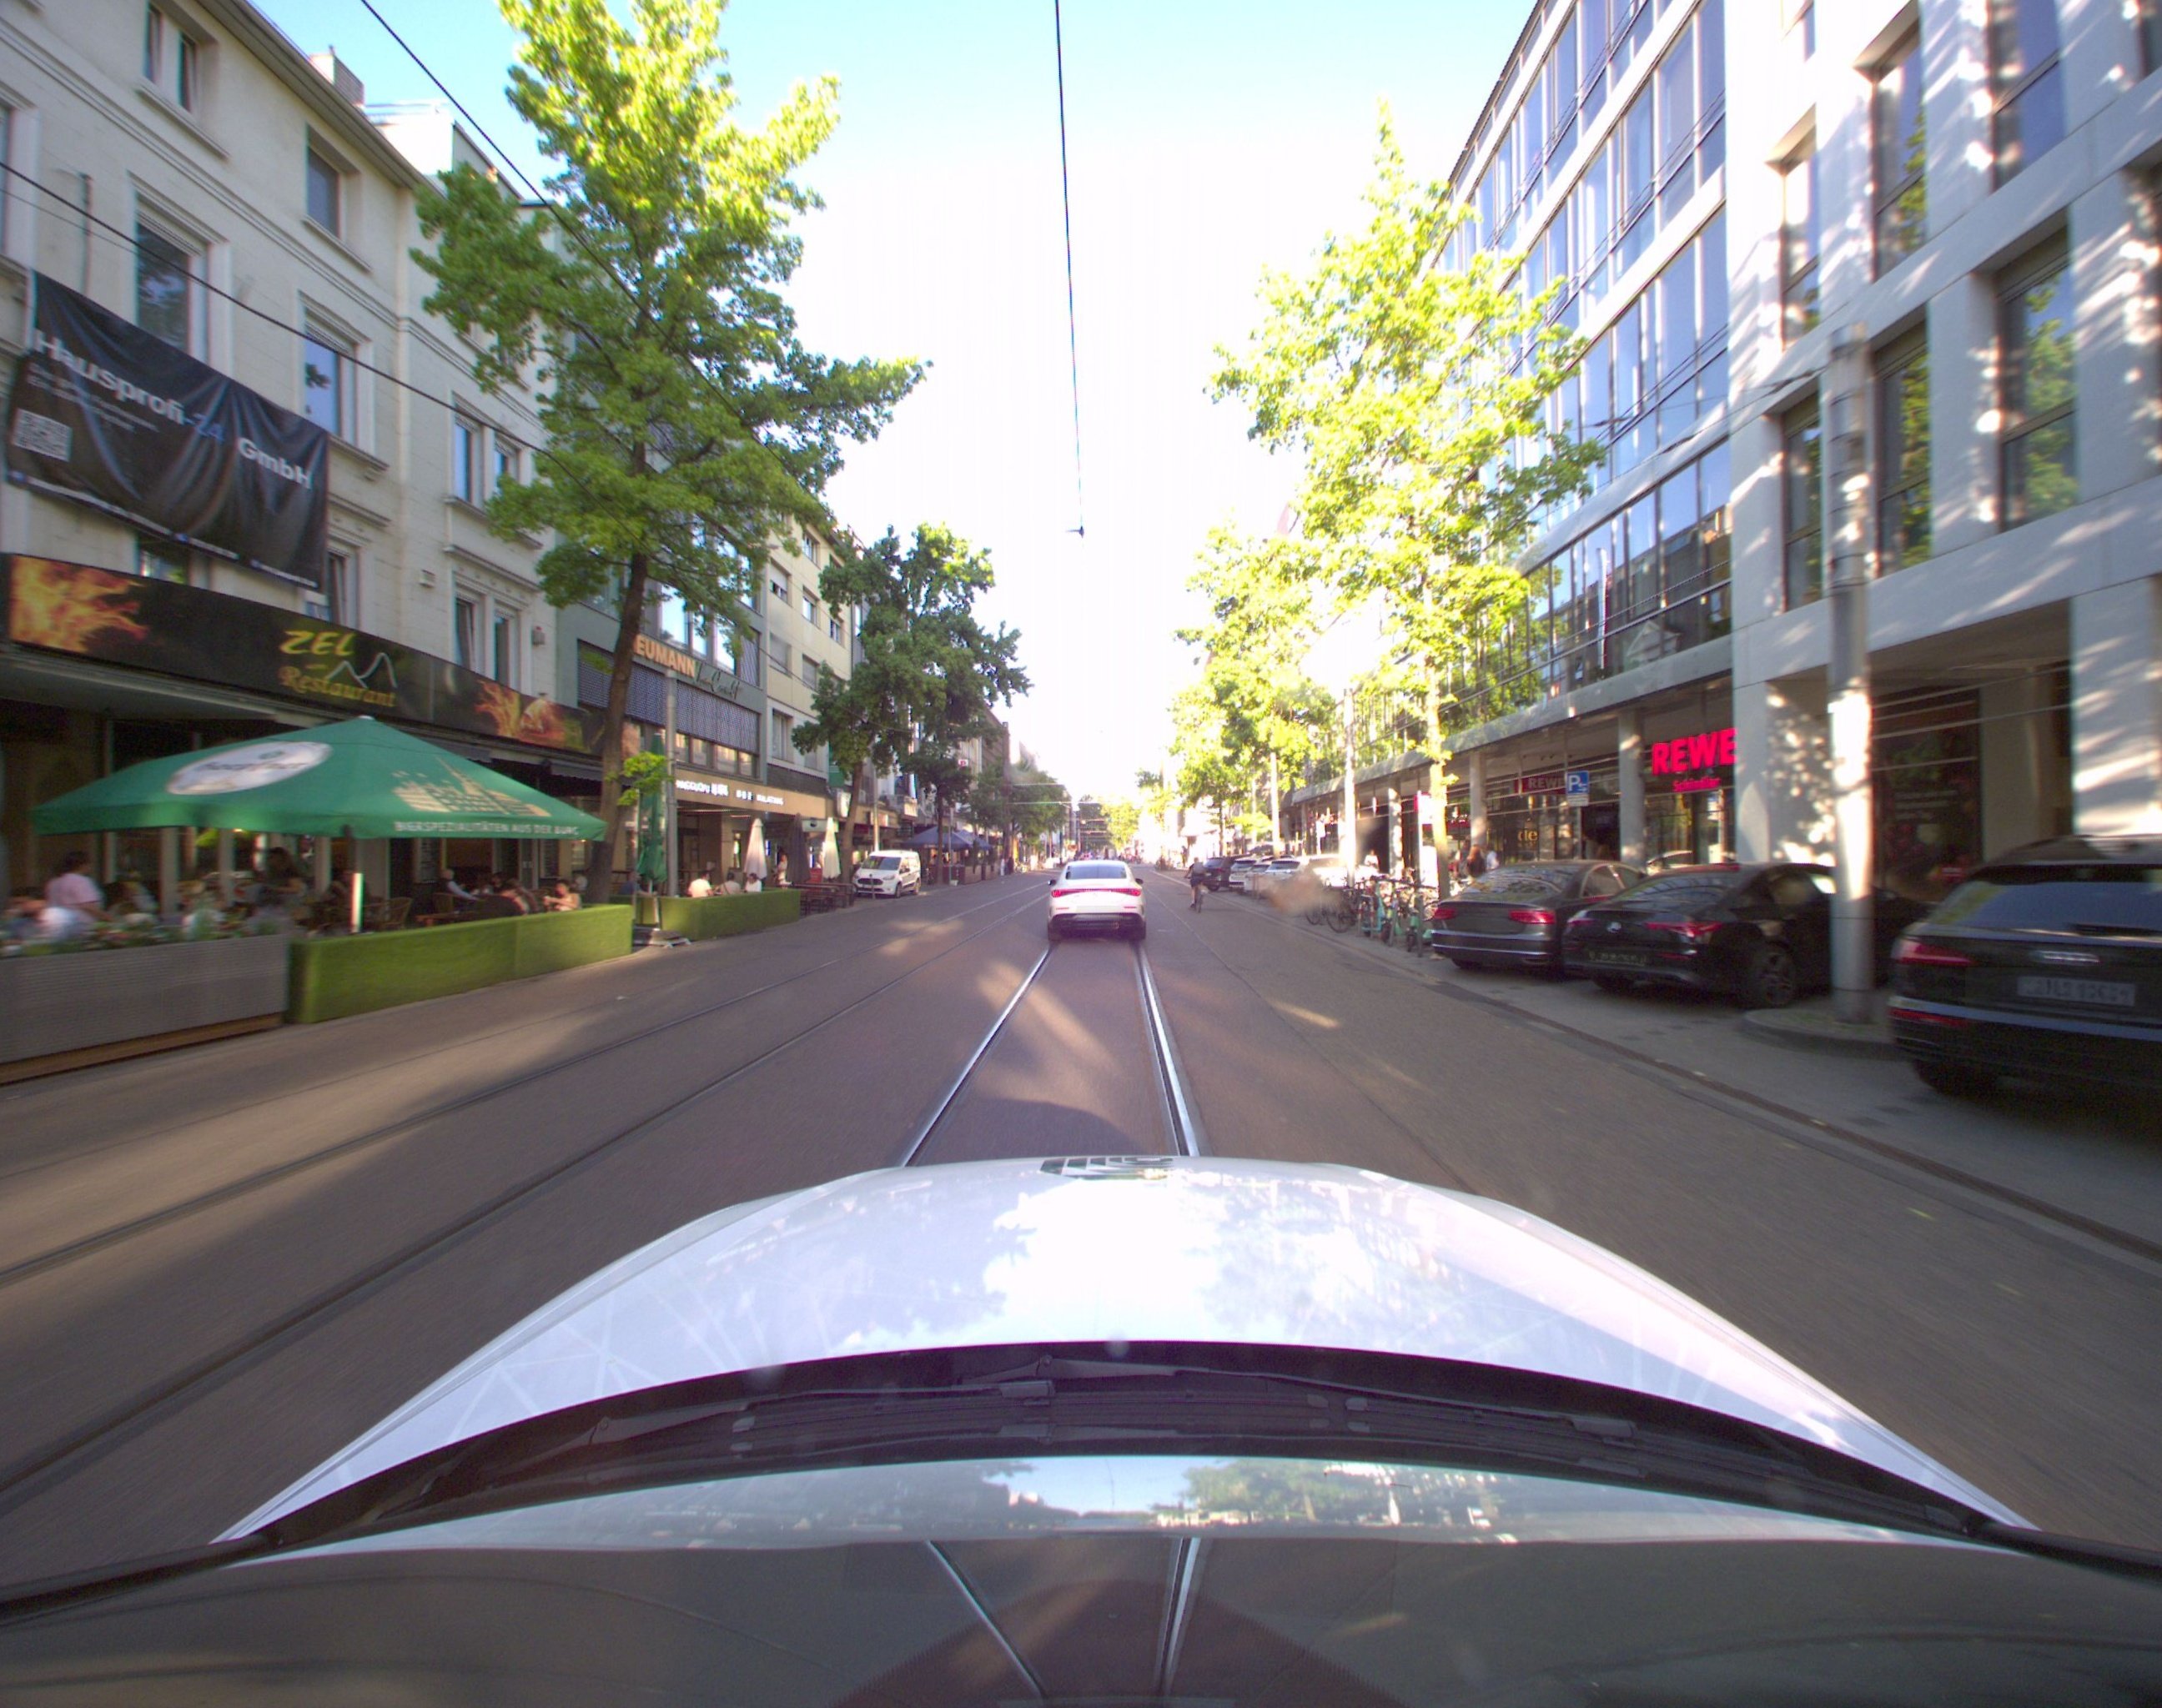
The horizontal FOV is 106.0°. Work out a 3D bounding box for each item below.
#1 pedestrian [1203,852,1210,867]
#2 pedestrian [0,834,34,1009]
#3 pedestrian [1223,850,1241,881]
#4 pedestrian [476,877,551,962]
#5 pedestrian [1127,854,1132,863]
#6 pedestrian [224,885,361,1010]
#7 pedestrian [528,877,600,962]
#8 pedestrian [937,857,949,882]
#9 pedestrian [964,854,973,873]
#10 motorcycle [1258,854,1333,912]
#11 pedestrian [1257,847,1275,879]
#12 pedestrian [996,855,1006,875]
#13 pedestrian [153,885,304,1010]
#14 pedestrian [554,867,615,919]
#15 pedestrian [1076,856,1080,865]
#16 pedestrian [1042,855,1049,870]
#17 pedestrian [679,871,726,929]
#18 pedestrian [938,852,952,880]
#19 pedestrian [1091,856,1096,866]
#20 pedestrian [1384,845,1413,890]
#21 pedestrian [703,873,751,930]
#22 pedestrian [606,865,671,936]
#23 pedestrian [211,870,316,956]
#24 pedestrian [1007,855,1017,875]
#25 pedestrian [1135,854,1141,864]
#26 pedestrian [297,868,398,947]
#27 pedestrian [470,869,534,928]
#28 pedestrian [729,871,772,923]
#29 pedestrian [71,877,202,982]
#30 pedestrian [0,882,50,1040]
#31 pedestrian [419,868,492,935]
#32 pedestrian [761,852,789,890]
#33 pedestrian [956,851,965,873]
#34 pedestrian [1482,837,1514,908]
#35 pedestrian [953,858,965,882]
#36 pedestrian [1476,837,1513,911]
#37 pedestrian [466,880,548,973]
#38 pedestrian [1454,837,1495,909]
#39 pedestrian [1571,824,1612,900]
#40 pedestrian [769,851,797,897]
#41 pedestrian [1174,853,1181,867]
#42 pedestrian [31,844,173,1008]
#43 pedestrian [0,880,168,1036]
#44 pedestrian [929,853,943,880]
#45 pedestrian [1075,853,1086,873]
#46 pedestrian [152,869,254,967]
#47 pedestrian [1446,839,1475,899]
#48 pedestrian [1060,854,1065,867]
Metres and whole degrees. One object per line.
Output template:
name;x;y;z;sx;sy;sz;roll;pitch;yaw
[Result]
pedestrian;13.377;0.585;86.776;0.634;1.653;0.781;-1;0;3
pedestrian;-11.140;0.667;8.037;0.675;1.757;0.697;1;0;3
pedestrian;8.518;0.633;45.855;0.672;1.685;0.700;-3;-1;36
pedestrian;-8.863;1.006;12.737;0.616;1.245;0.697;2;0;1
pedestrian;9.201;0.846;154.241;0.957;1.785;0.804;-2;-1;1
pedestrian;-8.591;0.994;8.903;0.704;1.259;0.773;1;0;4
pedestrian;-8.102;1.012;12.787;0.616;1.245;0.697;2;0;1
pedestrian;-7.812;0.870;46.175;0.547;1.429;0.583;0;0;1
pedestrian;-9.318;0.759;67.312;0.595;1.533;0.672;1;0;3
motorcycle;6.171;0.822;23.348;2.332;1.510;0.849;-3;-1;-42
pedestrian;10.368;0.504;45.716;0.681;1.731;0.636;-3;-1;44
pedestrian;-6.250;0.863;63.958;0.620;1.509;0.834;2;0;3
pedestrian;-9.398;0.999;9.014;0.704;1.259;0.870;1;0;4
pedestrian;-11.975;0.929;19.674;0.750;1.188;1.065;2;0;1
pedestrian;-0.578;1.302;162.448;0.657;1.599;0.573;-1;0;1
pedestrian;-4.473;1.084;101.716;0.784;1.801;0.845;-1;0;3
pedestrian;-8.836;1.055;19.036;0.654;1.293;0.798;2;0;1
pedestrian;-8.360;0.716;50.173;0.715;1.724;0.675;0;0;1
pedestrian;2.331;1.290;148.893;0.797;1.782;0.849;1;-1;1
pedestrian;11.668;0.498;29.959;0.711;1.624;0.883;-2;0;3
pedestrian;-8.164;1.080;18.828;0.654;1.244;0.873;2;0;1
pedestrian;-8.828;0.912;16.288;0.751;1.343;0.873;2;0;1
pedestrian;-12.404;0.873;12.381;0.733;1.232;0.788;2;0;1
pedestrian;-5.443;0.877;64.202;0.620;1.550;0.853;2;0;3
pedestrian;10.796;0.977;154.409;0.957;1.785;0.804;-2;-1;1
pedestrian;-12.304;0.872;13.693;0.774;1.237;0.945;2;0;1
pedestrian;-12.076;0.910;17.001;0.697;1.168;0.788;2;0;1
pedestrian;-8.068;1.045;19.925;0.654;1.193;0.798;2;0;1
pedestrian;-11.832;0.923;10.229;0.667;1.242;0.799;1;0;1
pedestrian;-9.447;0.907;6.769;0.686;1.312;0.807;1;0;3
pedestrian;-12.095;0.900;15.774;0.733;1.214;0.788;2;0;1
pedestrian;-12.176;0.687;32.396;0.767;1.467;0.765;2;0;0
pedestrian;-9.924;0.663;67.303;0.595;1.745;0.672;1;0;3
pedestrian;10.156;0.449;19.829;0.514;1.696;0.551;-1;0;6
pedestrian;-6.920;0.922;46.099;0.547;1.356;0.583;0;0;1
pedestrian;10.006;0.485;19.720;0.521;1.750;0.559;-3;-1;4
pedestrian;-8.249;1.024;11.735;0.616;1.245;0.697;2;0;1
pedestrian;9.432;0.451;19.533;0.679;1.696;0.548;0;0;-11
pedestrian;13.313;0.210;21.246;0.580;1.919;0.664;-3;-1;4
pedestrian;-10.485;0.695;28.666;0.645;1.574;0.700;2;0;2
pedestrian;12.502;0.752;105.456;0.698;1.812;1.034;-4;-1;2
pedestrian;-10.432;0.734;8.701;0.616;1.670;0.697;1;0;1
pedestrian;-9.379;0.935;7.644;0.704;1.347;0.782;1;0;4
pedestrian;-8.629;0.745;48.364;0.671;1.607;0.720;0;0;1
pedestrian;-0.053;0.803;72.056;0.838;1.801;0.791;1;0;3
pedestrian;-12.390;0.886;11.507;0.616;1.309;0.697;2;0;1
pedestrian;11.236;0.438;24.125;0.555;1.750;0.525;-3;-1;2
pedestrian;-2.697;0.929;118.965;0.570;1.929;0.540;-1;0;-2
